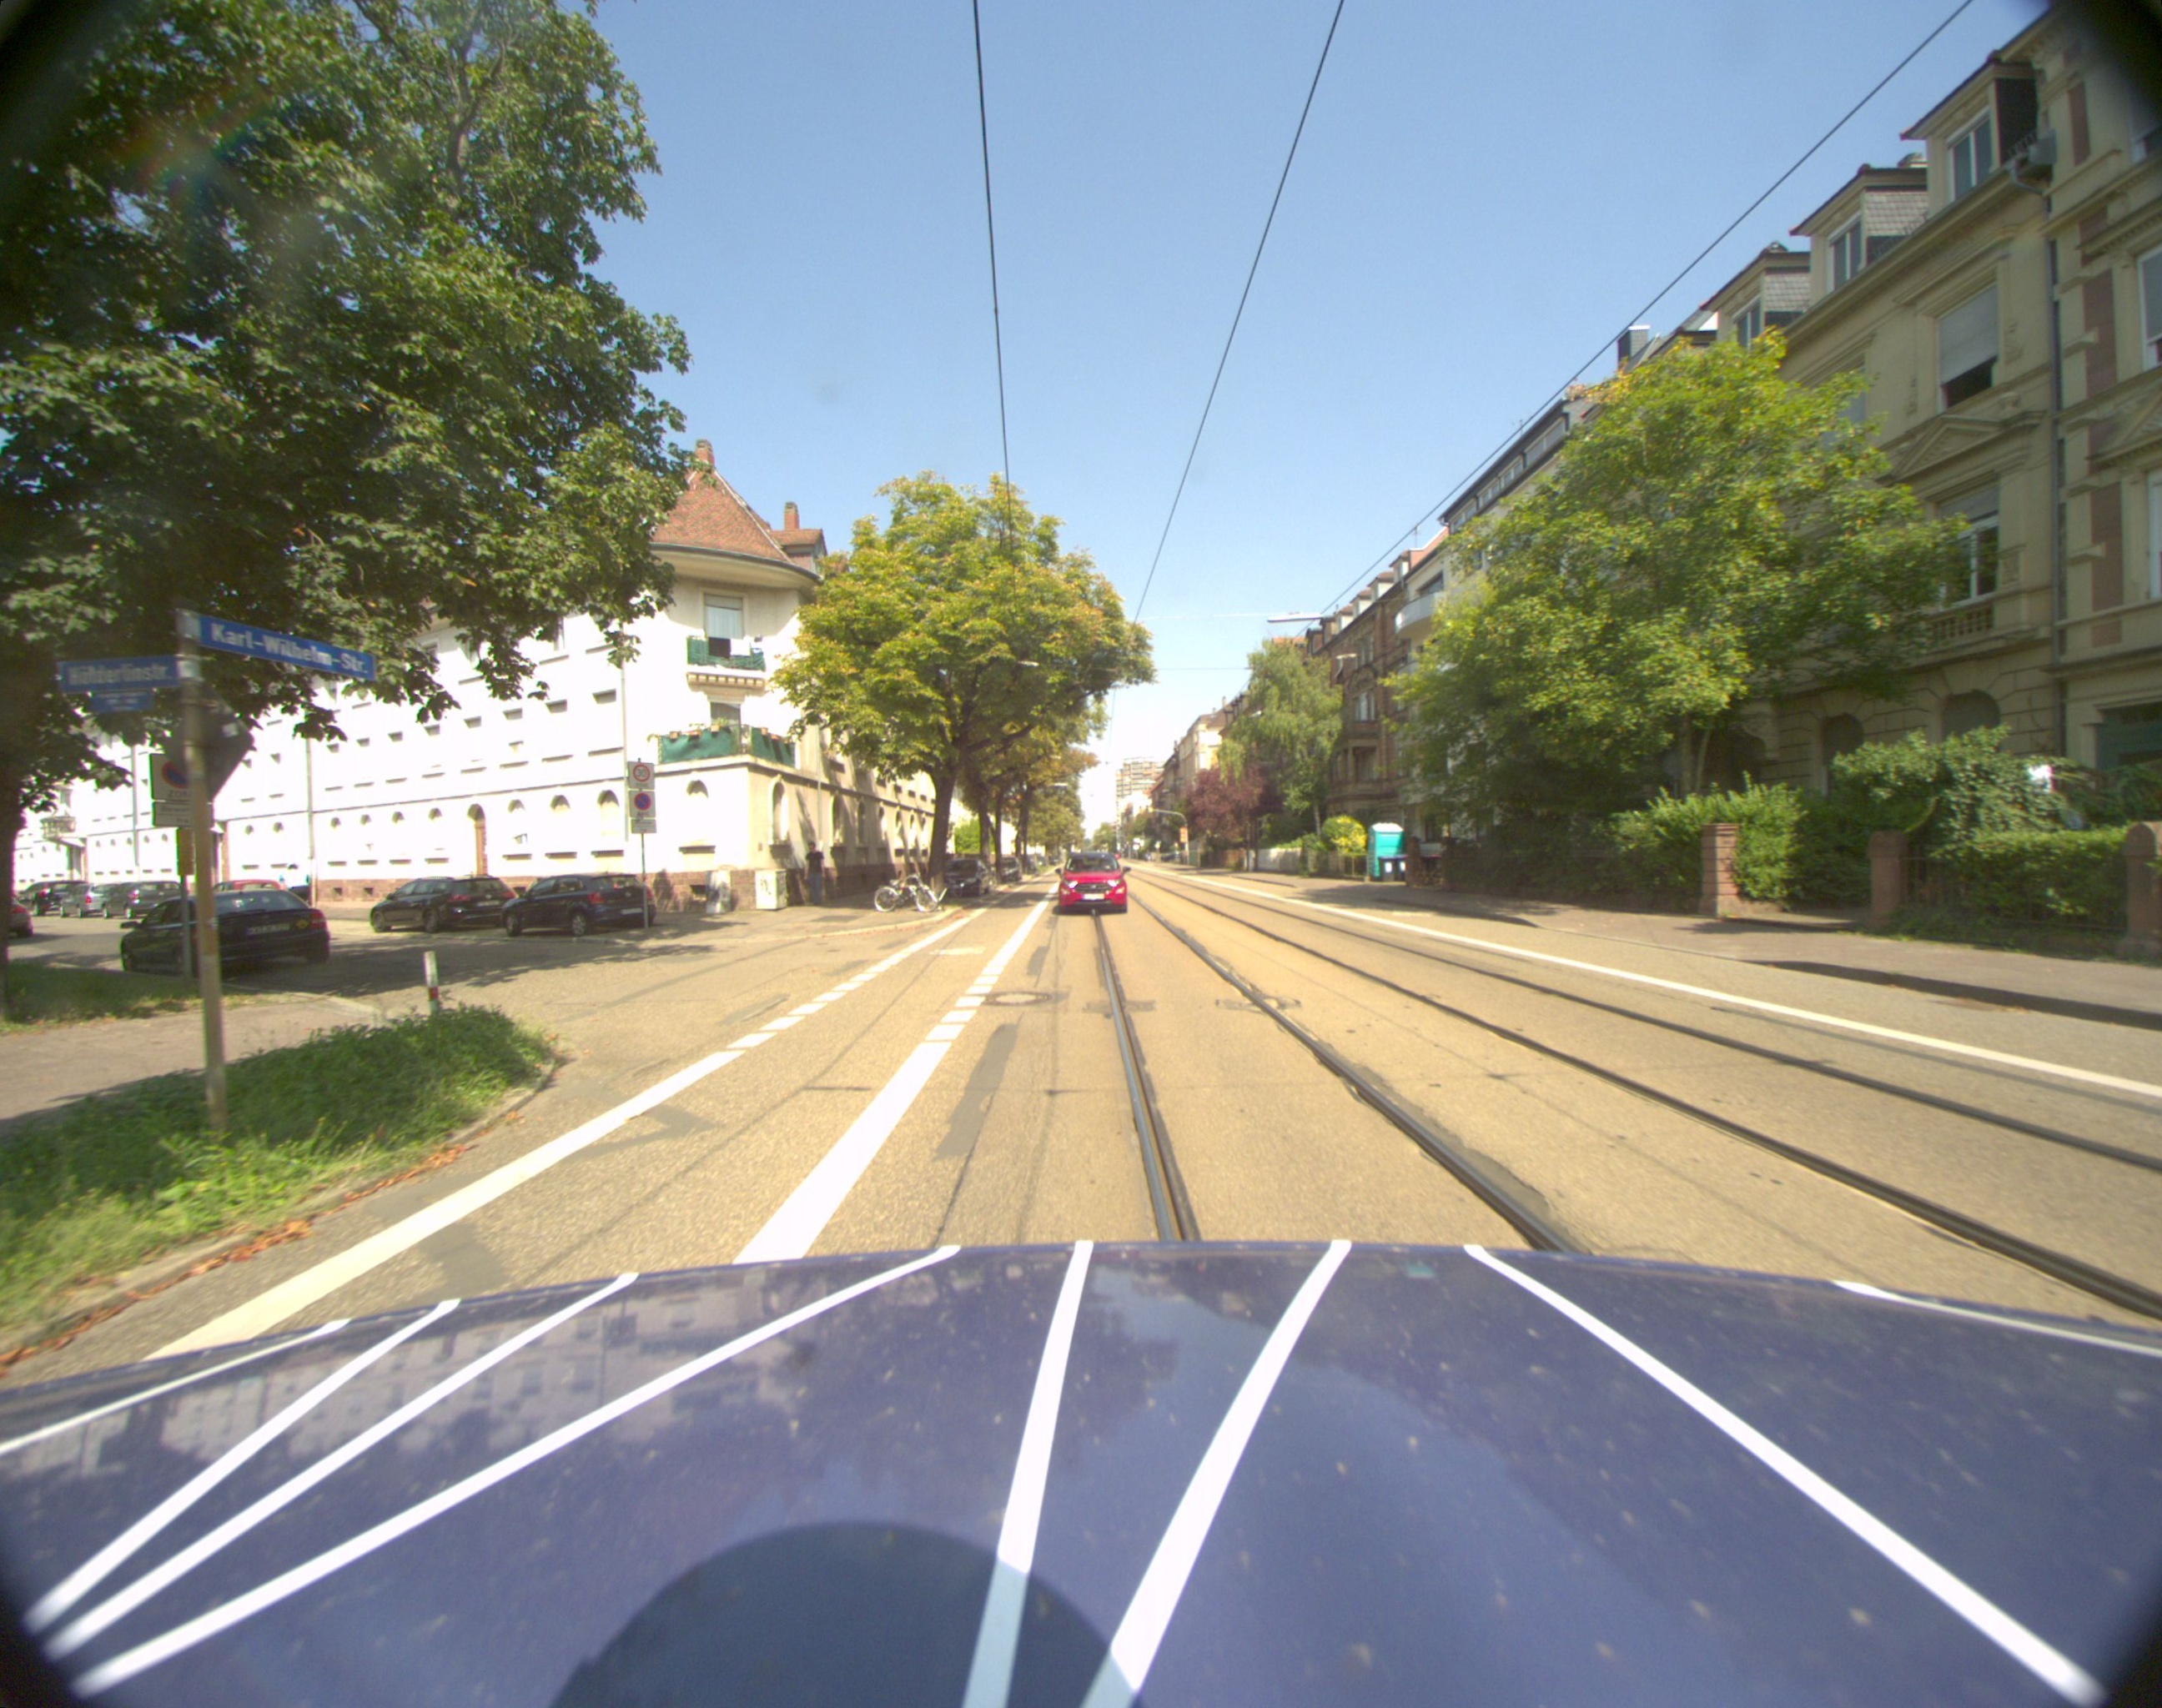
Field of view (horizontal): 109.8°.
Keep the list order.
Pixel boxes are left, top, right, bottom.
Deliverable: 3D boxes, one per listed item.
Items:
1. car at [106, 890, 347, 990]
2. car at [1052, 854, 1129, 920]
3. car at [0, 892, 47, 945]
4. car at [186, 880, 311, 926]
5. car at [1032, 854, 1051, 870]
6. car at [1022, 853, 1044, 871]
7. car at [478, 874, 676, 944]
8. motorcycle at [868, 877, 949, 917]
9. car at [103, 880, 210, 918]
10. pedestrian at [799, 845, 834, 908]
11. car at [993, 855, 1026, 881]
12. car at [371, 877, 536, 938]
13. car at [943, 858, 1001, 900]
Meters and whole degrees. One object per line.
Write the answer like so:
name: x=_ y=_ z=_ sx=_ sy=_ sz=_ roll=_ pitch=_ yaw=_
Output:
car: x=-15.030 y=1.402 z=13.353 sx=3.990 sy=1.422 sz=1.841 roll=-1 pitch=0 yaw=27
car: x=0.289 y=0.802 z=20.427 sx=1.815 sy=1.542 sz=4.021 roll=-2 pitch=0 yaw=1
car: x=-32.129 y=1.867 z=22.041 sx=4.267 sy=1.422 sz=1.841 roll=-1 pitch=0 yaw=27
car: x=-29.592 y=1.709 z=27.004 sx=3.990 sy=1.430 sz=1.979 roll=-1 pitch=0 yaw=27
car: x=-3.834 y=0.734 z=74.269 sx=1.555 sy=1.489 sz=4.265 roll=-1 pitch=0 yaw=1
car: x=-4.081 y=0.681 z=65.199 sx=1.598 sy=1.489 sz=4.052 roll=-1 pitch=0 yaw=1
car: x=-11.905 y=1.243 z=17.972 sx=3.990 sy=1.435 sz=1.978 roll=-1 pitch=0 yaw=23
motorcycle: x=-4.702 y=1.161 z=20.827 sx=2.000 sy=1.009 sz=0.796 roll=1 pitch=1 yaw=0
car: x=-38.452 y=1.841 z=31.589 sx=3.990 sy=1.430 sz=1.979 roll=-1 pitch=0 yaw=27
pedestrian: x=-7.654 y=0.642 z=22.024 sx=0.749 sy=1.775 sz=0.632 roll=-1 pitch=1 yaw=1
car: x=-4.463 y=0.837 z=47.824 sx=1.598 sy=1.489 sz=4.052 roll=-1 pitch=0 yaw=1
car: x=-16.945 y=1.388 z=20.511 sx=3.990 sy=1.430 sz=1.979 roll=-1 pitch=0 yaw=27
car: x=-4.208 y=0.923 z=29.894 sx=1.598 sy=1.489 sz=4.052 roll=-1 pitch=0 yaw=1
